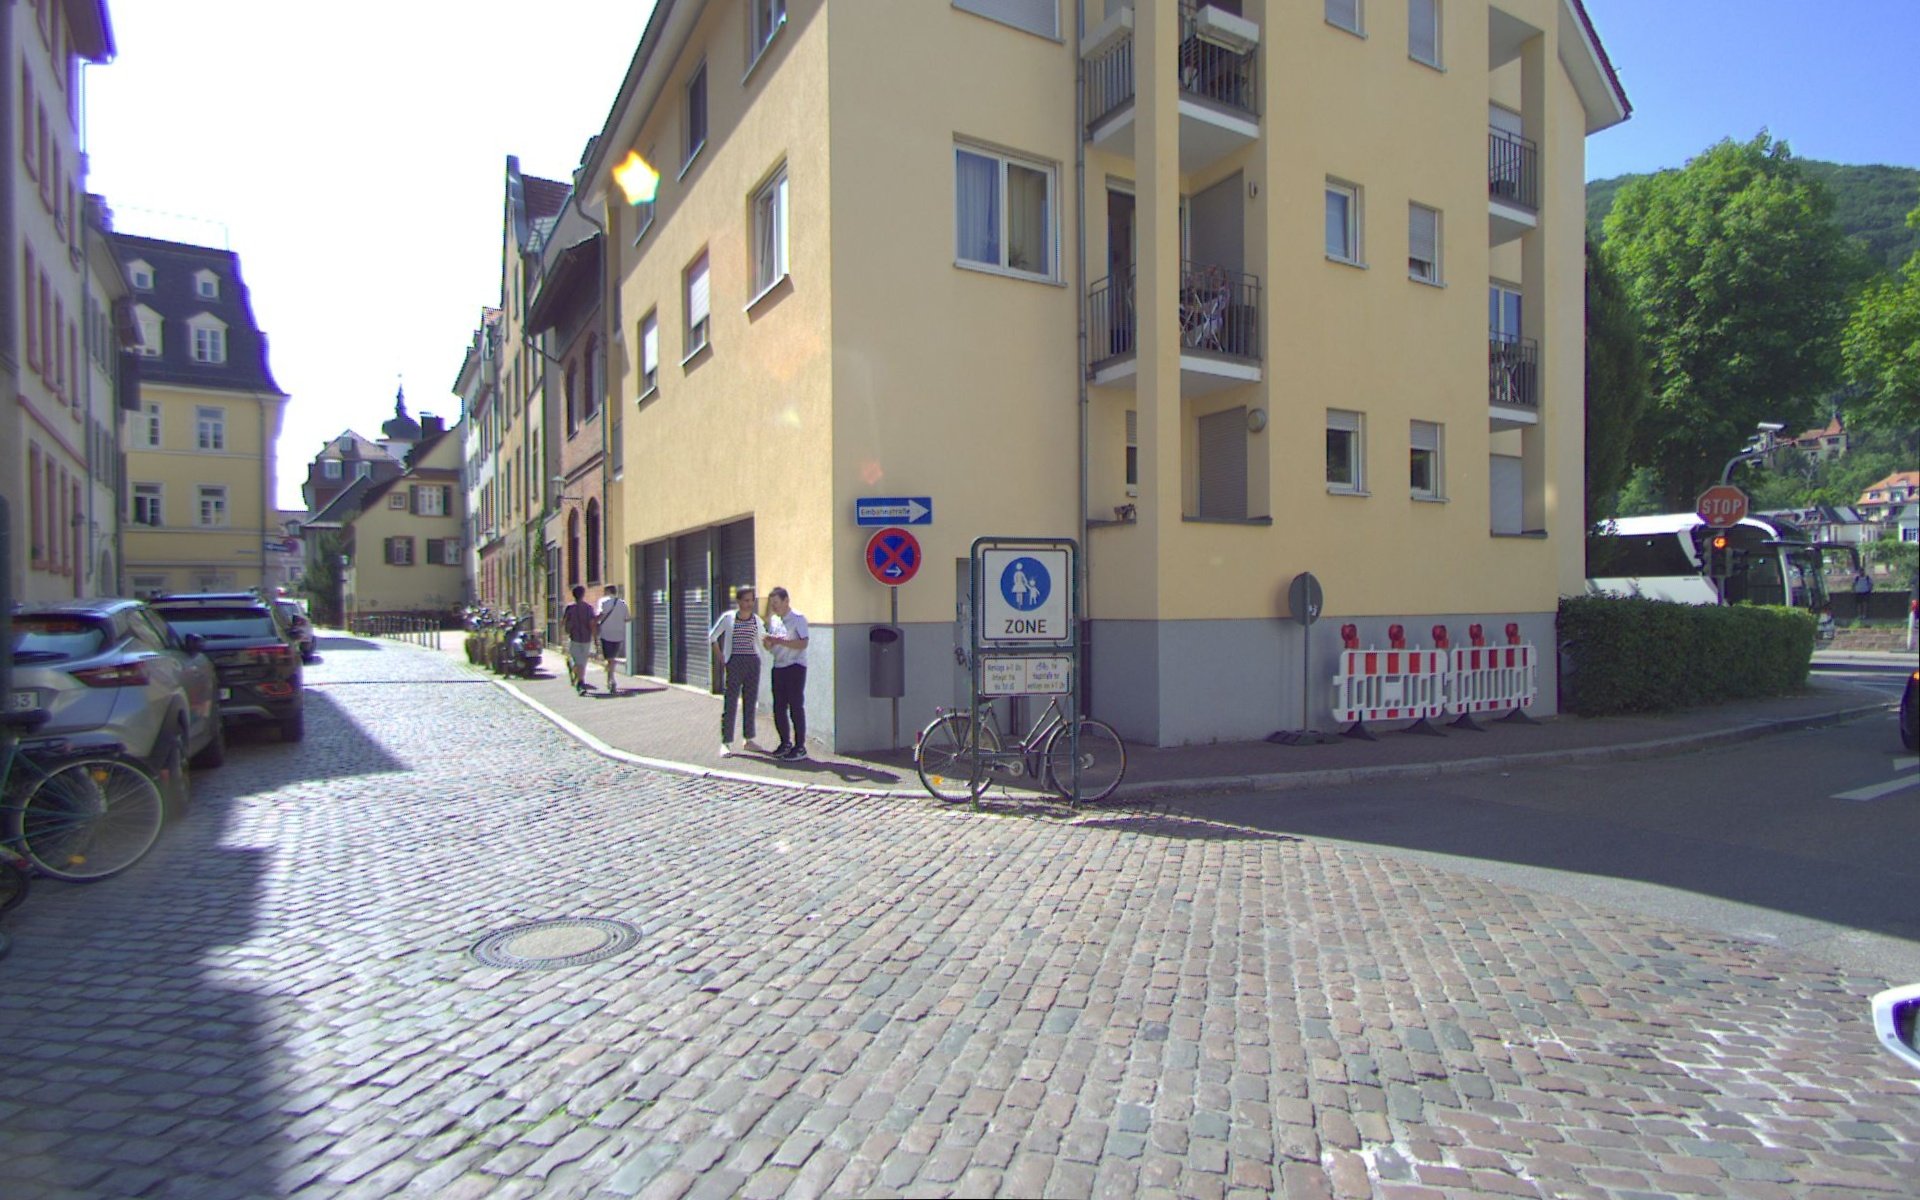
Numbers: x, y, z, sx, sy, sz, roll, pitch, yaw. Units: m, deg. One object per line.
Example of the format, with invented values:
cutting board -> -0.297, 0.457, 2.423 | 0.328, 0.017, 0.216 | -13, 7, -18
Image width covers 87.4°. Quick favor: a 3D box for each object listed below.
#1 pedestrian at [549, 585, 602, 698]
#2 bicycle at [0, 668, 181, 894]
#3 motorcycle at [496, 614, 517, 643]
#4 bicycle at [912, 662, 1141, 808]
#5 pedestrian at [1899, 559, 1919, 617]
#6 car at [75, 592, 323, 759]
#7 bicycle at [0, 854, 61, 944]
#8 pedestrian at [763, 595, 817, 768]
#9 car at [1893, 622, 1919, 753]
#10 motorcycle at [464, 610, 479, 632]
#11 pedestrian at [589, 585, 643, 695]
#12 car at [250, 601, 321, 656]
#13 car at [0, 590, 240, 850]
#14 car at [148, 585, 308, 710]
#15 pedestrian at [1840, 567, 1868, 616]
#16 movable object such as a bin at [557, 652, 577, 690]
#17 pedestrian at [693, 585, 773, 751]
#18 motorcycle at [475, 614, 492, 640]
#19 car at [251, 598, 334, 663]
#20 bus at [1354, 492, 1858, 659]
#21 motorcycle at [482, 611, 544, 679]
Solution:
pedestrian -> -6.284, 0.662, 16.414 | 0.612, 1.768, 0.855 | 3, 0, -30
bicycle -> -5.143, 0.985, 5.265 | 0.281, 1.100, 1.639 | -3, 1, 30
motorcycle -> -15.790, 0.976, 34.961 | 0.383, 0.958, 1.339 | 3, -1, -36
bicycle -> 0.558, 1.093, 8.346 | 1.878, 1.093, 0.390 | 0, 0, -15
pedestrian -> 31.208, -0.375, 32.788 | 0.753, 1.882, 0.753 | 1, 0, 39
car -> -8.618, 0.722, 11.727 | 1.831, 1.565, 3.967 | 1, 0, -31
bicycle -> -4.789, 1.388, 4.258 | 1.106, 0.291, 1.074 | 0, -1, -18
pedestrian -> -1.659, 0.772, 9.862 | 0.483, 1.639, 0.656 | 0, 0, -7
car -> 13.202, 0.968, 12.225 | 4.676, 1.481, 1.704 | 0, -2, -35
motorcycle -> -22.579, 0.968, 46.404 | 0.382, 0.958, 1.557 | 3, -1, -33
pedestrian -> -5.730, 0.654, 16.714 | 0.612, 1.768, 0.855 | 3, 0, -30
car -> -19.533, 0.787, 29.195 | 1.551, 1.463, 3.613 | 1, 0, -31
car -> -6.820, 0.742, 7.720 | 1.832, 1.565, 3.894 | 0, 0, -32
car -> -11.026, 0.621, 15.358 | 1.550, 1.657, 3.829 | 1, 0, -30
pedestrian -> 32.056, -0.294, 36.012 | 0.751, 1.755, 0.701 | 0, 0, -44
movable object such as a bin -> -6.770, 1.217, 17.299 | 0.296, 0.571, 1.236 | 0, 0, -23
pedestrian -> -2.358, 0.676, 10.394 | 0.681, 1.639, 0.752 | 0, 0, -23
motorcycle -> -18.503, 1.045, 39.013 | 0.382, 0.958, 1.341 | 3, -1, -32
car -> -16.510, 0.716, 24.972 | 1.551, 1.463, 3.613 | 1, 0, -31
bus -> 17.498, -0.522, 28.843 | 2.877, 3.838, 12.062 | 0, 0, -34
motorcycle -> -9.110, 0.886, 20.414 | 0.591, 1.265, 2.457 | 3, -1, -36
